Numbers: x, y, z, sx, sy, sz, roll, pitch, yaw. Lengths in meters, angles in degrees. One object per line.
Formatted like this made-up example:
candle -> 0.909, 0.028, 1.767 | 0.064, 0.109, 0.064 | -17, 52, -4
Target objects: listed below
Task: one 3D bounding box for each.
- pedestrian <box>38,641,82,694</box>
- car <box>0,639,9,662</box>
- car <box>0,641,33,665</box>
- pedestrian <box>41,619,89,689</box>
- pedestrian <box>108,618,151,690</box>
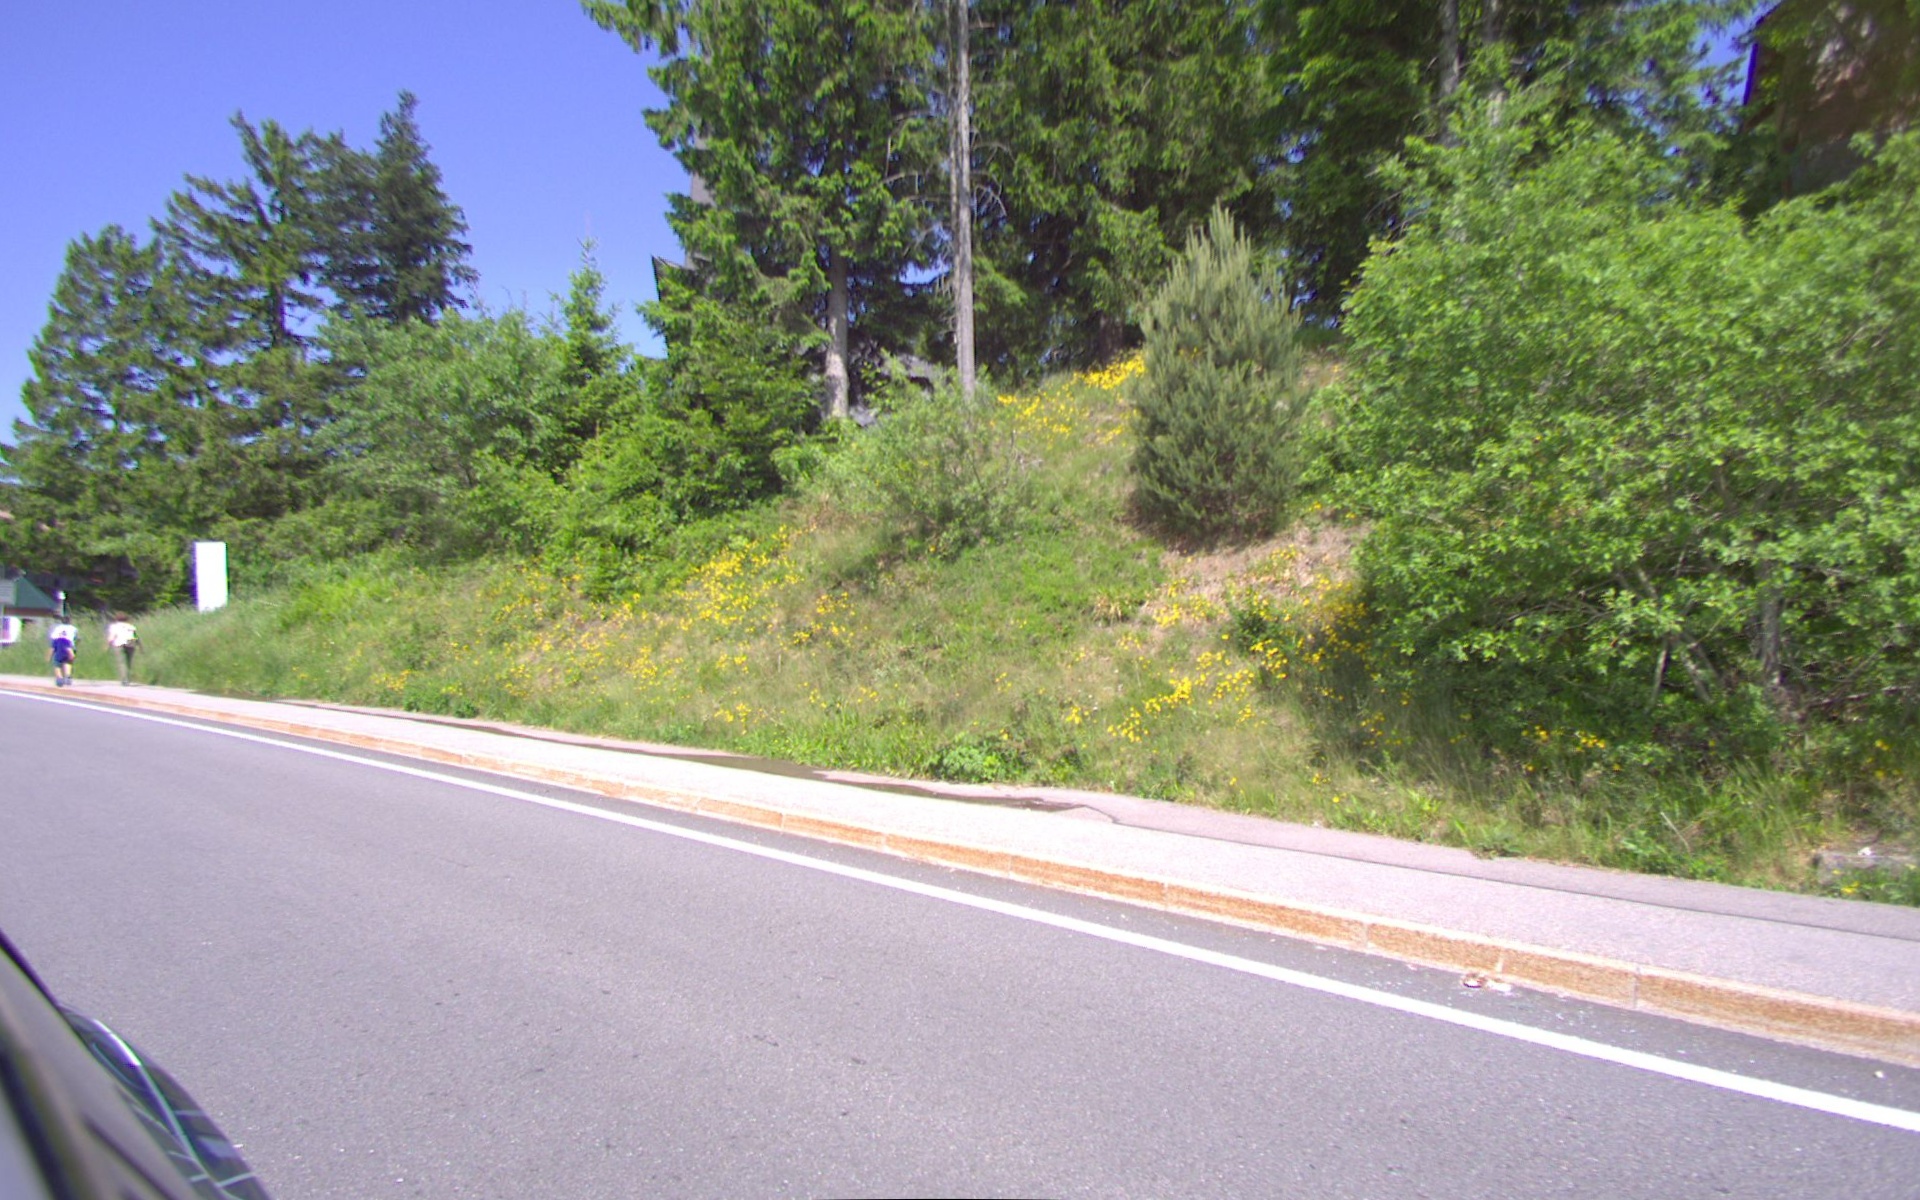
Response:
pedestrian -> -19.363, 1.443, 21.779 | 0.744, 1.110, 0.563 | -2, -3, 38
car -> -60.621, 3.107, 62.396 | 1.689, 1.445, 3.326 | 1, -3, -21
car -> -58.138, 3.230, 61.396 | 1.683, 1.406, 3.326 | 1, -4, -21
pedestrian -> -20.159, 1.214, 22.792 | 0.878, 1.549, 0.575 | -2, -3, 35
pedestrian -> -19.402, 1.251, 23.647 | 0.893, 1.655, 0.570 | -2, -3, 38
